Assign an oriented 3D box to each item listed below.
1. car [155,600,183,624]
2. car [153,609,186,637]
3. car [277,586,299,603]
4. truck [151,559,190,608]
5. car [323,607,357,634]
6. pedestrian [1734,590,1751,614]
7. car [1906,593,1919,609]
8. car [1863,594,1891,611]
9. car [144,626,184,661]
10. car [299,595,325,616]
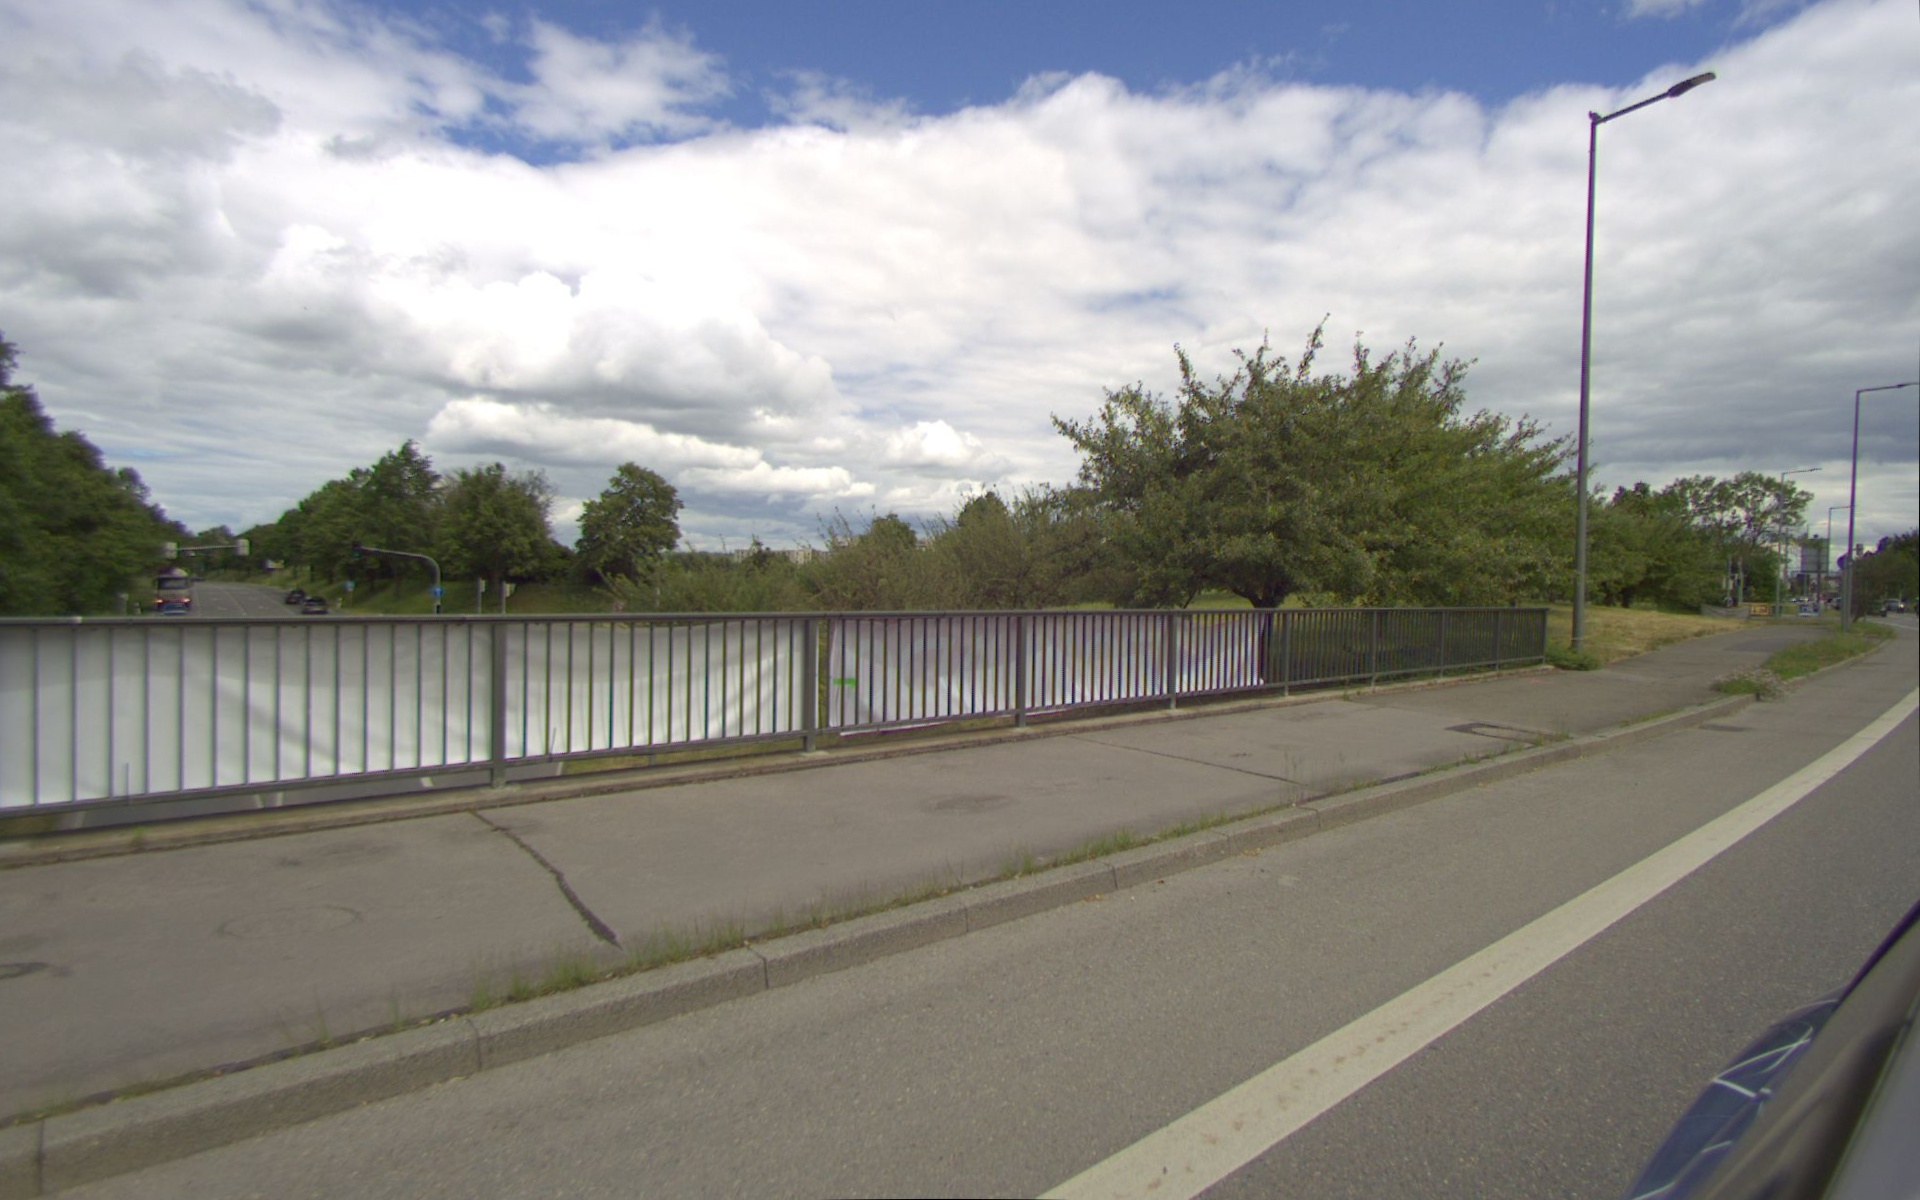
[{"bbox_3d":[-61.951,0.941,79.269,1.651,1.559,4.071,2,2,-38],"label":"car"},{"bbox_3d":[-52.947,1.543,67.755,1.651,1.559,4.071,2,2,-38],"label":"car"},{"bbox_3d":[-68.943,-0.567,103.787,1.650,1.559,3.857,2,2,-36],"label":"car"},{"bbox_3d":[-73.901,-1.579,94.682,2.665,4.078,8.765,2,2,-38],"label":"truck"},{"bbox_3d":[-43.715,1.434,71.335,1.650,1.559,3.857,2,2,-36],"label":"car"},{"bbox_3d":[61.934,0.162,80.100,0.750,1.907,0.802,0,0,-22],"label":"pedestrian"},{"bbox_3d":[99.487,0.089,104.974,1.866,1.716,4.307,0,0,41],"label":"car"},{"bbox_3d":[81.141,0.175,89.576,1.729,1.459,4.304,0,0,41],"label":"car"},{"bbox_3d":[-44.297,2.368,56.340,1.651,1.559,3.855,2,2,-38],"label":"car"},{"bbox_3d":[-56.685,0.438,88.513,1.650,1.559,3.857,2,2,-36],"label":"car"}]
